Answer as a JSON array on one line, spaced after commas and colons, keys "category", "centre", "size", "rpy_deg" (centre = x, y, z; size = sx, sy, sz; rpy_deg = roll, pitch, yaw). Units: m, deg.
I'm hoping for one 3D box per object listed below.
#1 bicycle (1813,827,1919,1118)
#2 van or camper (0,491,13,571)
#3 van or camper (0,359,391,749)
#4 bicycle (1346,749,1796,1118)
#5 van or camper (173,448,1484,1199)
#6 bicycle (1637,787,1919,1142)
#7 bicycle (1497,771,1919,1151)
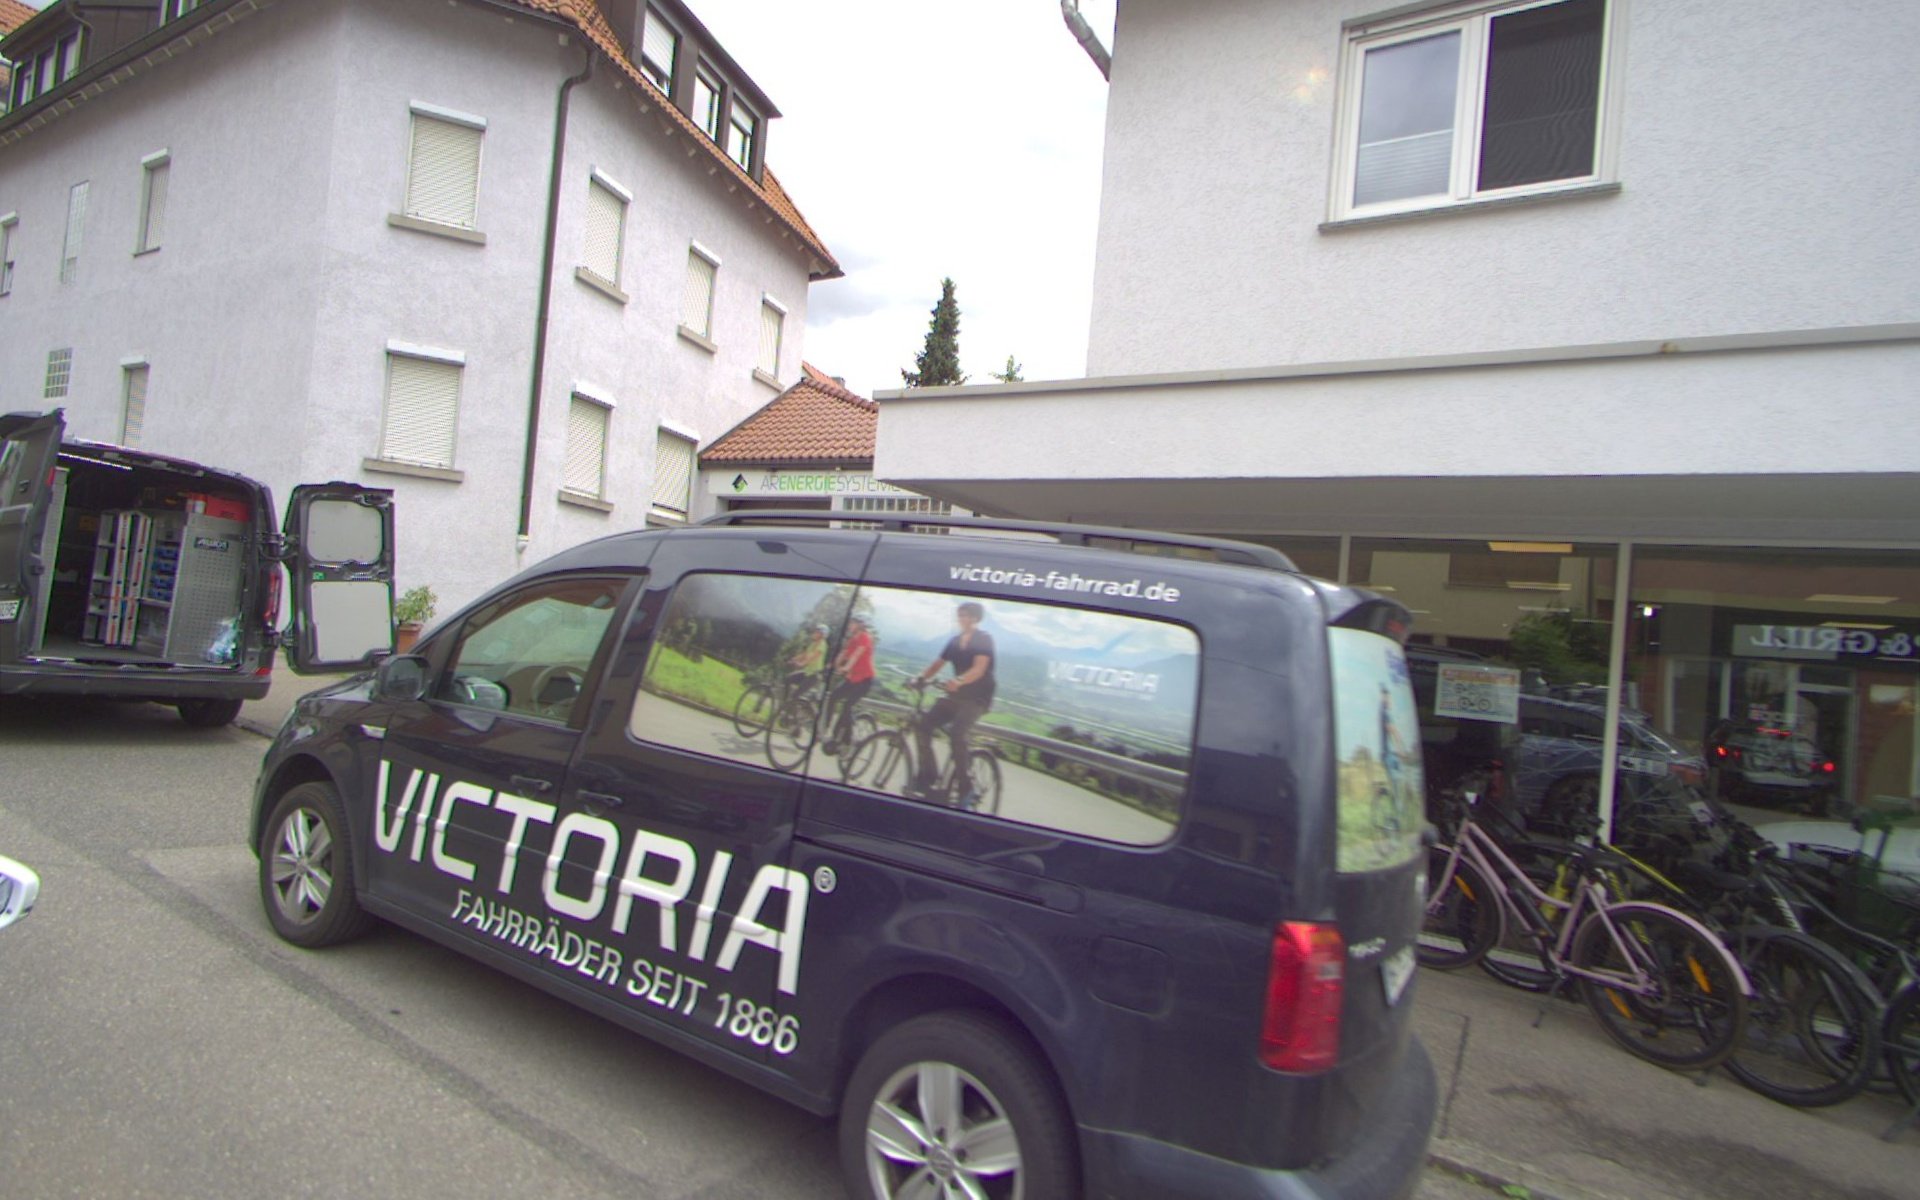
[{"category": "bicycle", "centre": [4.332, 1.628, 3.912], "size": [0.247, 1.127, 1.456], "rpy_deg": [6, 1, -28]}, {"category": "van or camper", "centre": [-12.034, -0.644, 10.860], "size": [3.935, 1.560, 1.606], "rpy_deg": [7, -3, 33]}, {"category": "van or camper", "centre": [-7.123, -0.431, 7.714], "size": [5.845, 2.088, 1.999], "rpy_deg": [7, -3, 31]}, {"category": "bicycle", "centre": [2.751, 1.430, 4.764], "size": [0.433, 1.127, 1.712], "rpy_deg": [6, 1, -31]}, {"category": "van or camper", "centre": [-0.742, 0.631, 3.837], "size": [4.602, 1.849, 1.876], "rpy_deg": [7, -3, 31]}, {"category": "bicycle", "centre": [3.803, 1.543, 4.304], "size": [0.247, 1.174, 1.457], "rpy_deg": [6, 1, -26]}, {"category": "bicycle", "centre": [3.328, 1.501, 4.562], "size": [0.294, 1.127, 1.564], "rpy_deg": [6, 1, -28]}]
